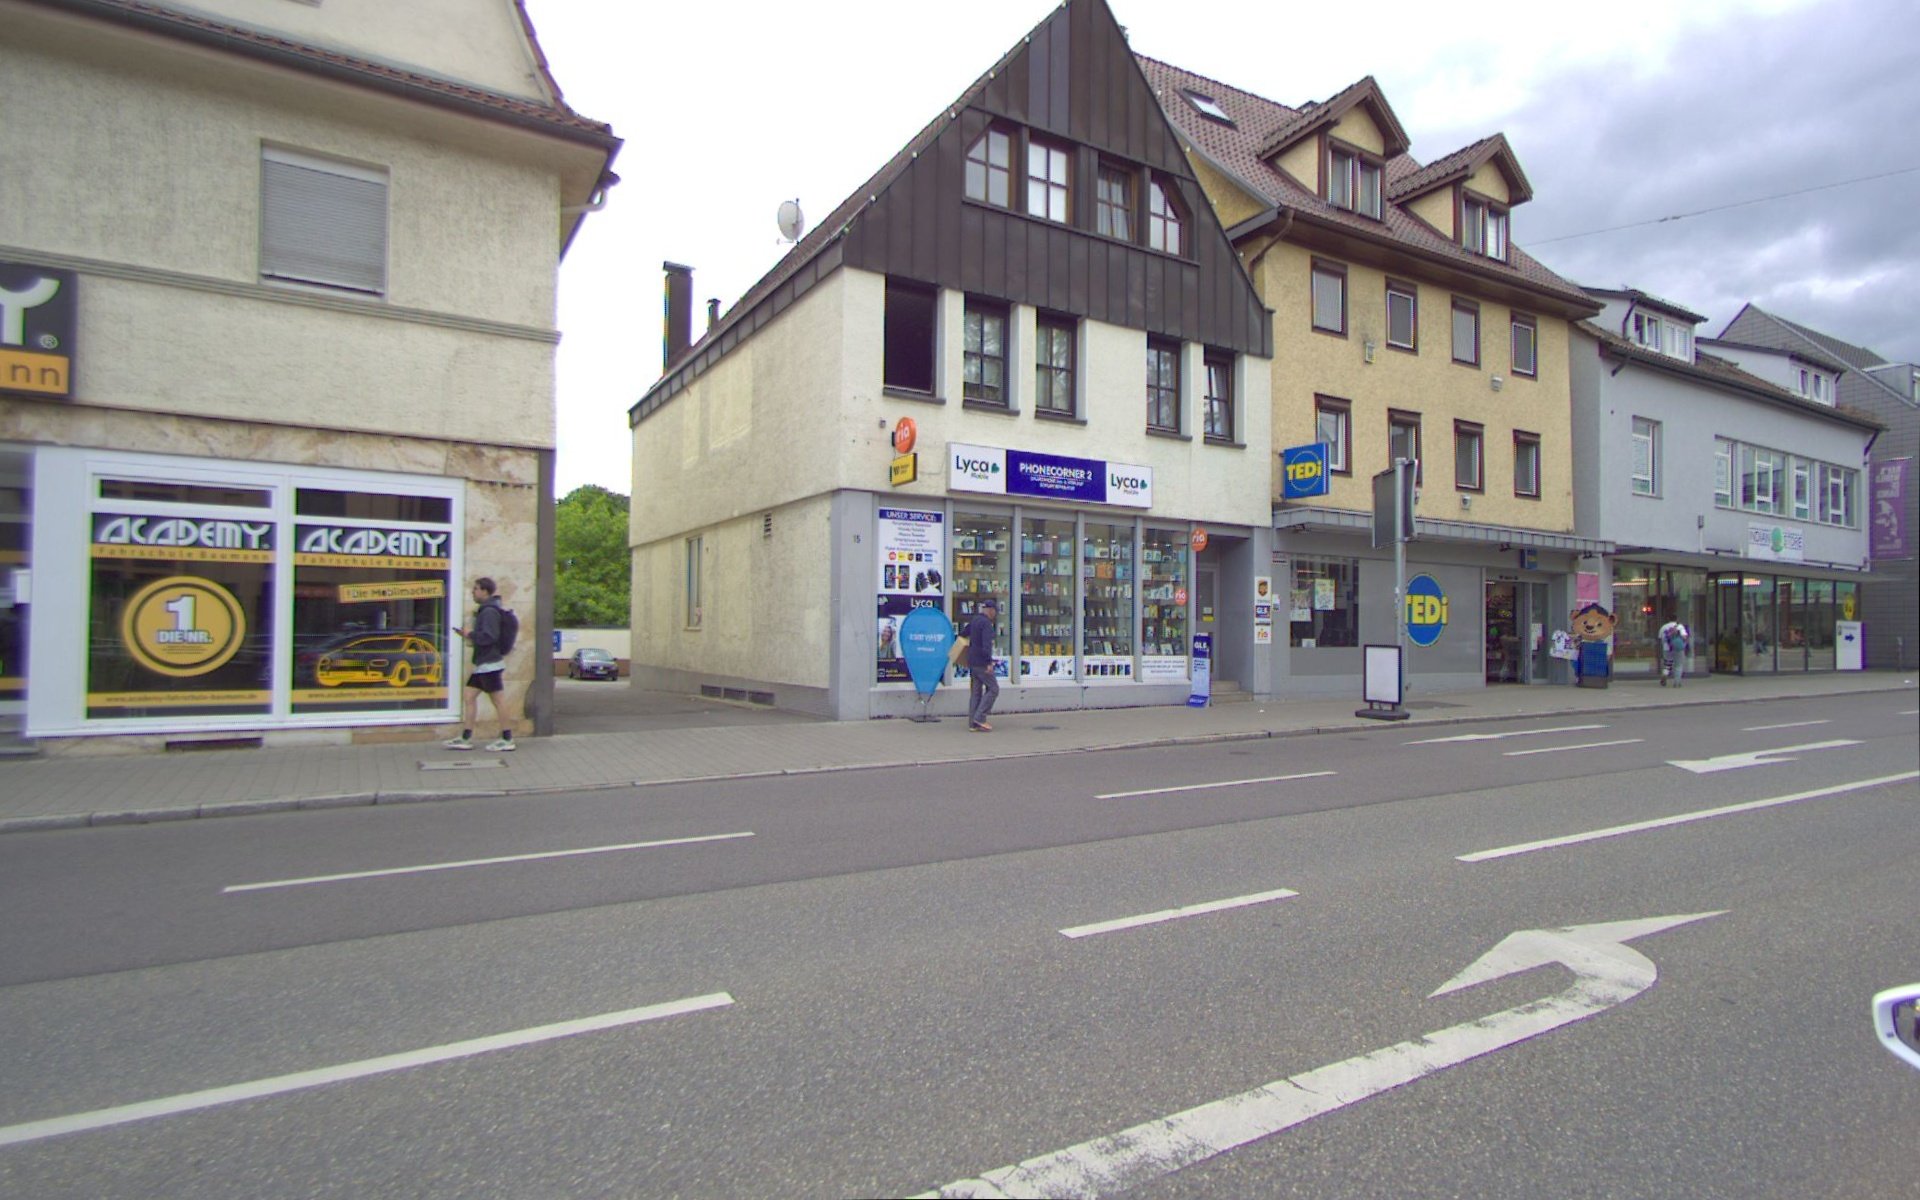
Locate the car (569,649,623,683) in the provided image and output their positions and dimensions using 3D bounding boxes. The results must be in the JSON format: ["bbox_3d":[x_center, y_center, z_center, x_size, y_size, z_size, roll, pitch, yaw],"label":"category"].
[{"bbox_3d":[-17.191,3.077,47.329,1.745,1.447,3.892,1,-3,-30],"label":"car"}]

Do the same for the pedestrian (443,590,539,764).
[{"bbox_3d":[-5.077,0.789,10.851,0.798,1.770,0.861,0,2,-35],"label":"pedestrian"}]

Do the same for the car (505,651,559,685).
[{"bbox_3d":[-19.651,3.068,46.052,1.747,1.447,3.890,1,-2,-31],"label":"car"}]

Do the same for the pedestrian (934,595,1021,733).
[{"bbox_3d":[0.231,0.838,13.609,0.798,1.770,0.861,0,2,-36],"label":"pedestrian"}]

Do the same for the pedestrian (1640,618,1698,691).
[{"bbox_3d":[16.775,1.272,23.768,0.971,1.656,0.811,1,1,-36],"label":"pedestrian"}]

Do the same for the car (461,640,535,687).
[{"bbox_3d":[-15.116,2.019,32.747,1.747,1.447,3.890,1,-2,-31],"label":"car"}]
